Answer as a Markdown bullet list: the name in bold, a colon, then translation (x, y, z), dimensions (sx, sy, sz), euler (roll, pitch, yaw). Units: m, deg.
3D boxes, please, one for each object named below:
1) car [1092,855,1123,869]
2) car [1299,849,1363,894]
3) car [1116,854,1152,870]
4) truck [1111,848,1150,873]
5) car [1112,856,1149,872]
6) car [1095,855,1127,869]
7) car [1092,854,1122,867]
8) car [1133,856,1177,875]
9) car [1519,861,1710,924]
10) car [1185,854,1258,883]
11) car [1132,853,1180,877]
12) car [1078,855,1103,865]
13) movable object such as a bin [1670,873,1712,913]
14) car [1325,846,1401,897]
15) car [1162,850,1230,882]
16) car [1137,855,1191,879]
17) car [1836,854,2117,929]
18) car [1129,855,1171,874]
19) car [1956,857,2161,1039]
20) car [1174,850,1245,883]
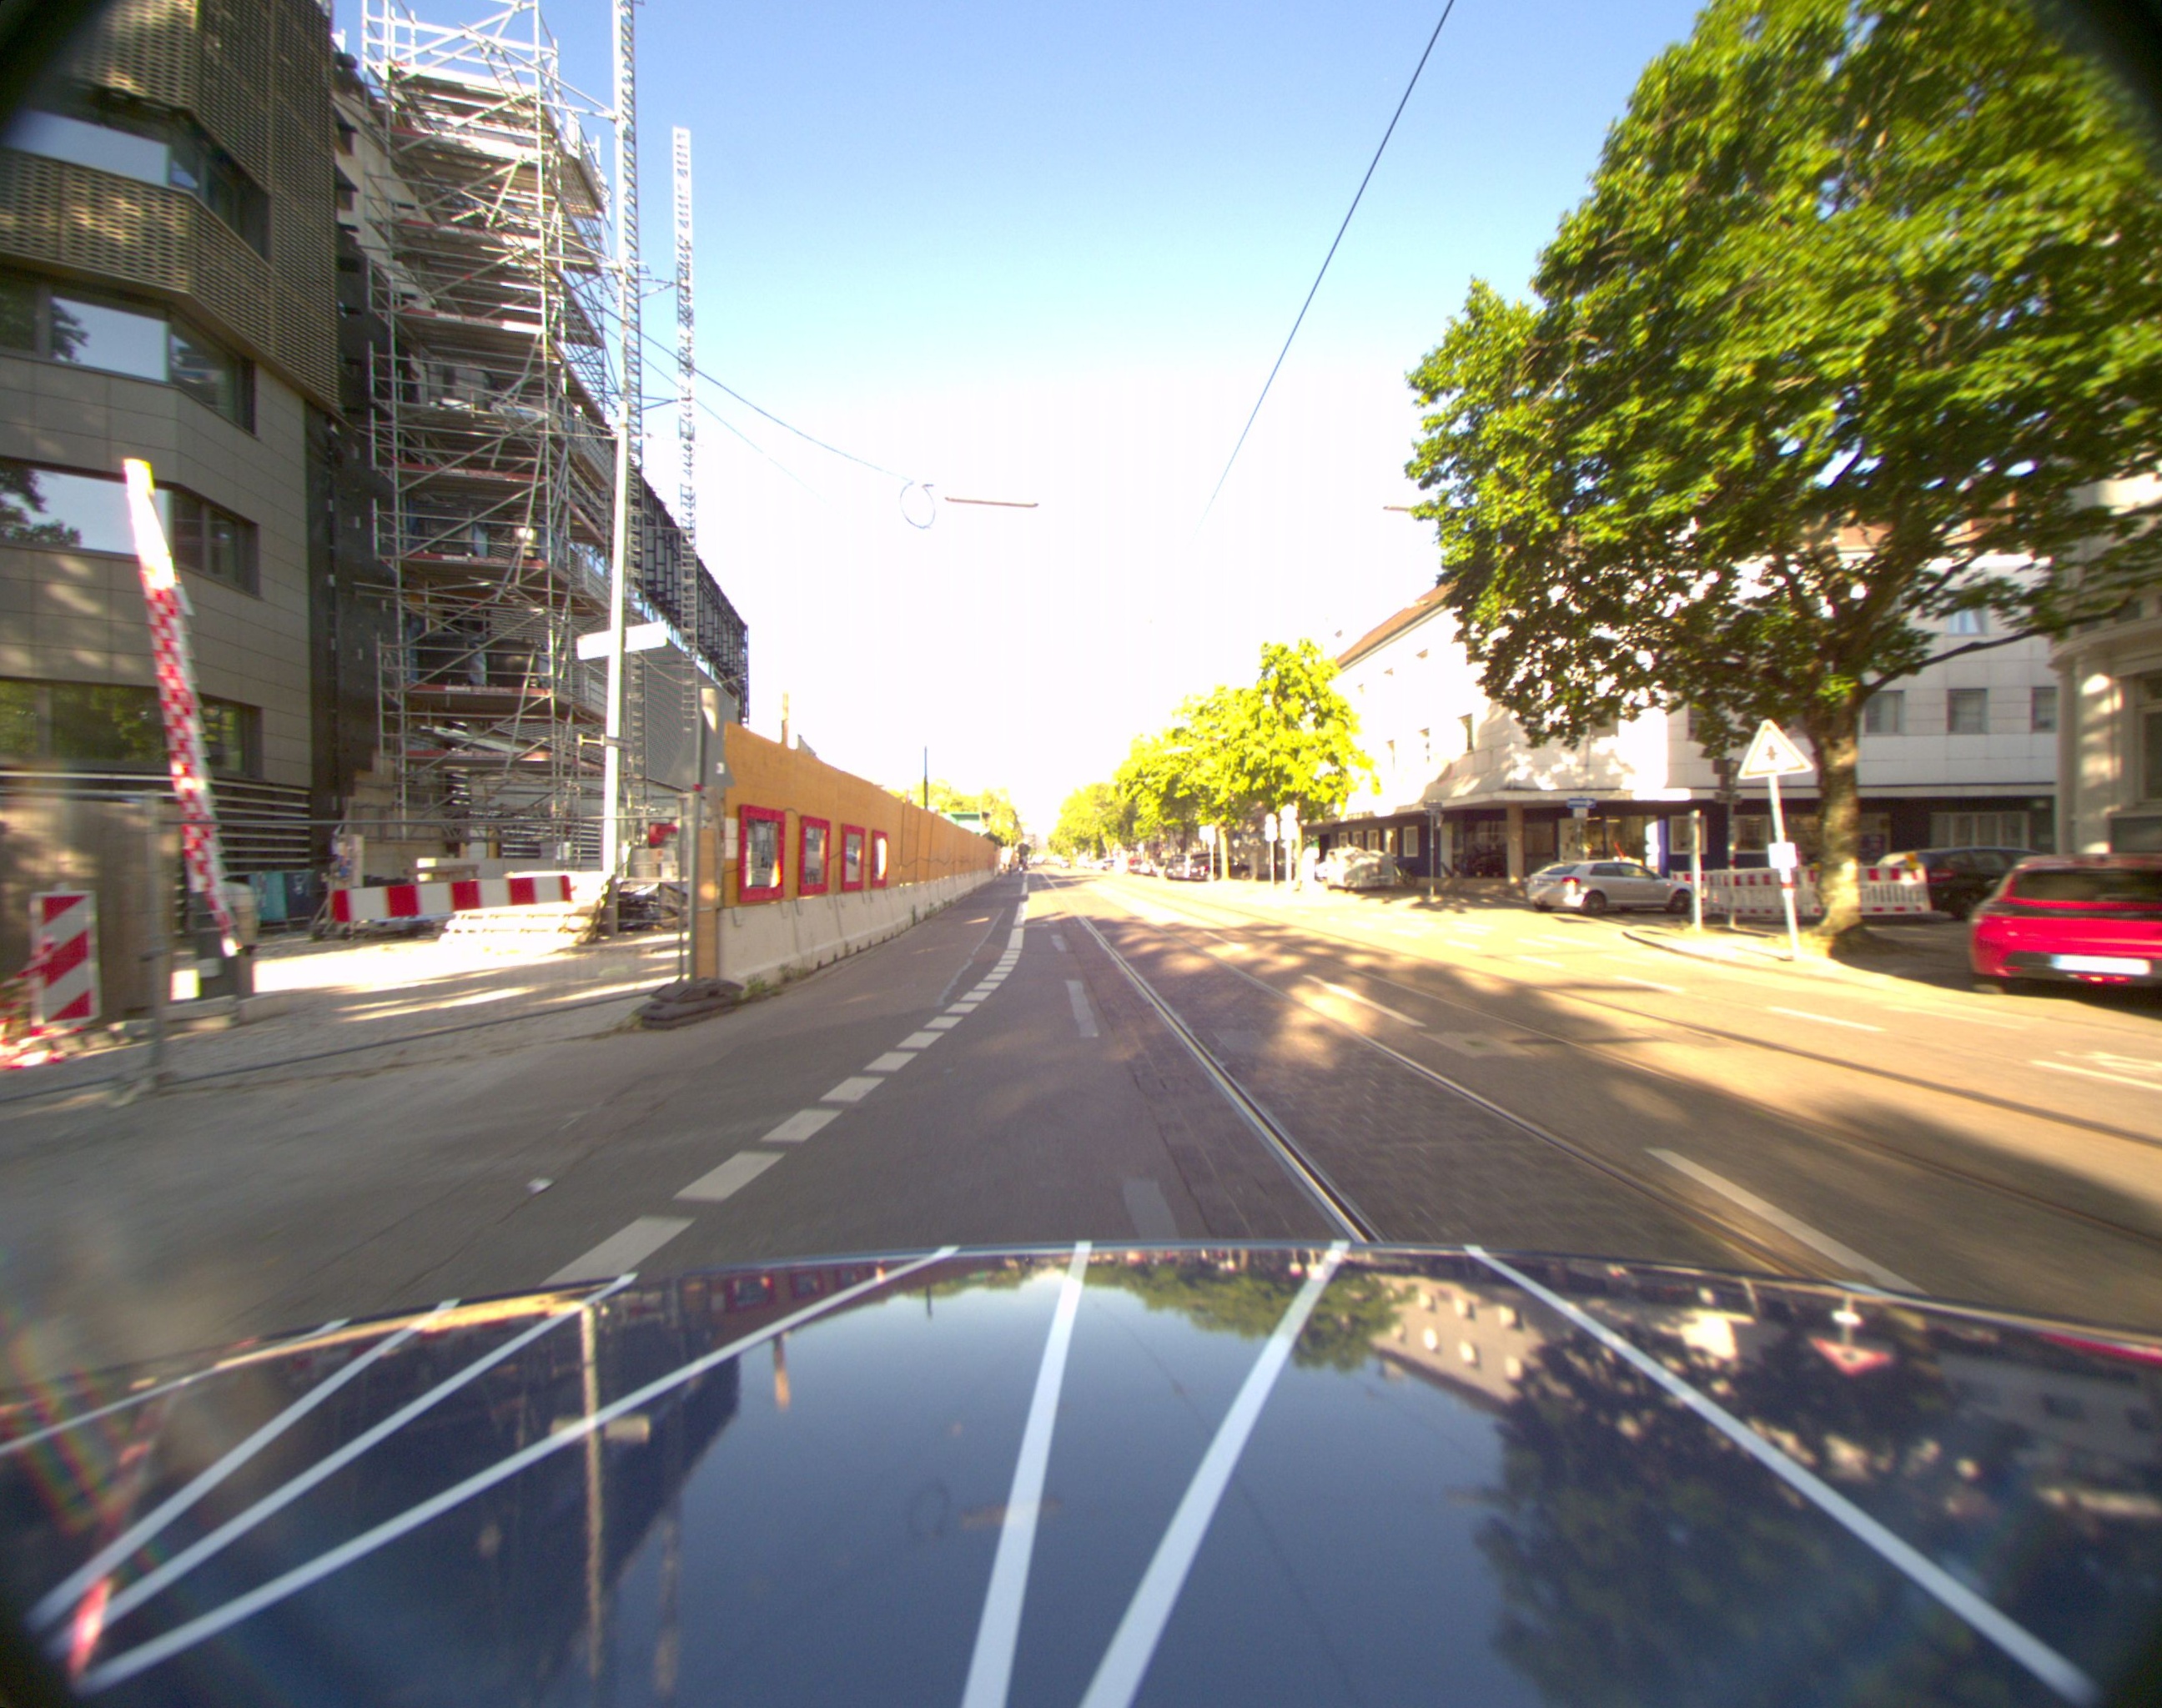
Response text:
- **car**: translation (3.426, 0.995, 99.035), dimensions (3.773, 1.584, 1.671), euler (-3, 1, -9)
- **car**: translation (11.131, 0.755, 34.080), dimensions (1.672, 1.886, 3.214), euler (0, 0, -3)
- **car**: translation (6.058, 0.929, 86.710), dimensions (3.773, 1.584, 1.671), euler (-3, 1, -9)
- **truck**: translation (5.240, 0.701, 80.494), dimensions (3.771, 2.409, 1.672), euler (-3, 1, -4)
- **car**: translation (5.431, 1.096, 83.324), dimensions (3.773, 1.584, 1.671), euler (-3, 1, -9)
- **car**: translation (3.788, 1.019, 95.596), dimensions (3.773, 1.584, 1.671), euler (-3, 1, -9)
- **car**: translation (3.605, 0.872, 104.355), dimensions (3.773, 1.584, 1.671), euler (-3, 1, -9)
- **car**: translation (7.082, 1.071, 72.981), dimensions (3.773, 1.584, 1.671), euler (-3, 1, -9)
- **car**: translation (13.831, 0.956, 19.794), dimensions (4.001, 1.477, 1.780), euler (0, 0, -11)
- **car**: translation (8.806, 0.869, 47.679), dimensions (4.102, 1.561, 1.671), euler (-3, 1, -9)
- **car**: translation (6.532, 0.952, 66.565), dimensions (3.806, 1.927, 1.671), euler (-3, 1, -9)
- **car**: translation (1.525, 0.938, 118.686), dimensions (3.622, 1.492, 1.503), euler (-3, 1, -9)
- **movable object such as a bin**: translation (18.032, 1.156, 22.469), dimensions (0.862, 1.124, 0.432), euler (-2, 1, 5)
- **car**: translation (11.178, 0.663, 30.313), dimensions (1.672, 1.886, 3.214), euler (0, 0, -3)
- **car**: translation (8.030, 0.829, 53.305), dimensions (4.308, 1.940, 1.671), euler (-3, 1, -9)
- **car**: translation (6.992, 1.061, 64.123), dimensions (4.102, 1.767, 1.671), euler (-3, 1, -9)
- **car**: translation (18.746, 0.740, 16.021), dimensions (3.998, 1.477, 1.781), euler (0, 0, -3)
- **car**: translation (6.799, 1.038, 75.383), dimensions (3.773, 1.584, 1.671), euler (-3, 1, -9)
- **car**: translation (11.171, 0.856, 8.248), dimensions (4.006, 1.477, 1.777), euler (-3, 1, -35)
- **car**: translation (8.561, 0.807, 50.680), dimensions (4.308, 1.940, 1.671), euler (-3, 1, -9)
